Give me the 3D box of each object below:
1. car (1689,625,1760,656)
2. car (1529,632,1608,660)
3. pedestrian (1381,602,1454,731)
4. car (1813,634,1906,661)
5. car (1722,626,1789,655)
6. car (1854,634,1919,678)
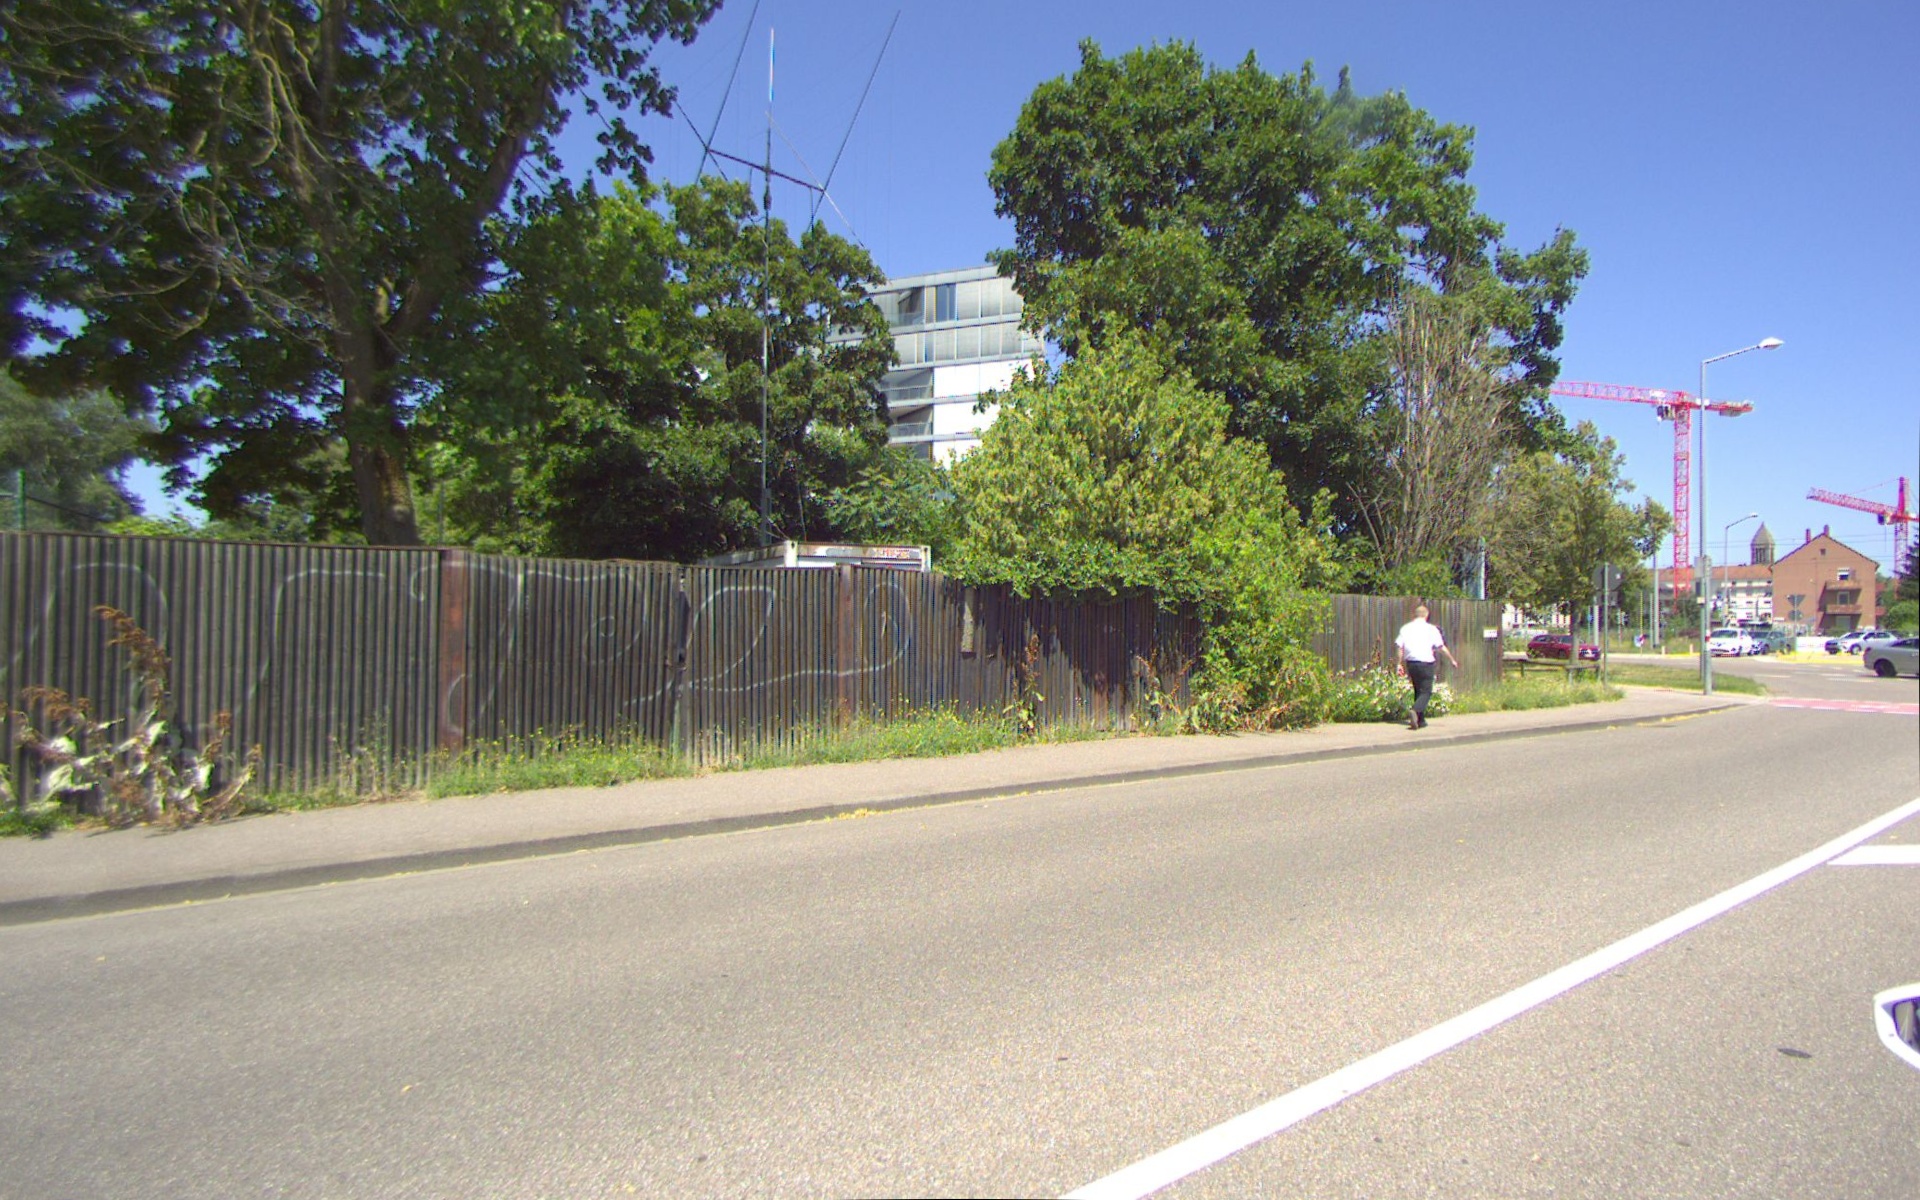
[{"bbox_3d":[41.984,2.224,55.165,3.953,1.570,1.748,2,-1,-30],"label":"car"},{"bbox_3d":[31.594,2.360,52.252,1.787,1.334,3.657,1,-1,-2],"label":"car"},{"bbox_3d":[6.783,0.968,14.882,0.841,1.849,0.589,1,0,-30],"label":"pedestrian"},{"bbox_3d":[55.577,2.933,62.127,4.136,1.520,1.713,1,-1,3],"label":"car"},{"bbox_3d":[46.575,2.361,58.819,3.953,1.570,1.748,2,-1,-30],"label":"car"},{"bbox_3d":[31.642,1.840,32.234,1.789,1.334,4.272,1,-1,-8],"label":"car"}]
